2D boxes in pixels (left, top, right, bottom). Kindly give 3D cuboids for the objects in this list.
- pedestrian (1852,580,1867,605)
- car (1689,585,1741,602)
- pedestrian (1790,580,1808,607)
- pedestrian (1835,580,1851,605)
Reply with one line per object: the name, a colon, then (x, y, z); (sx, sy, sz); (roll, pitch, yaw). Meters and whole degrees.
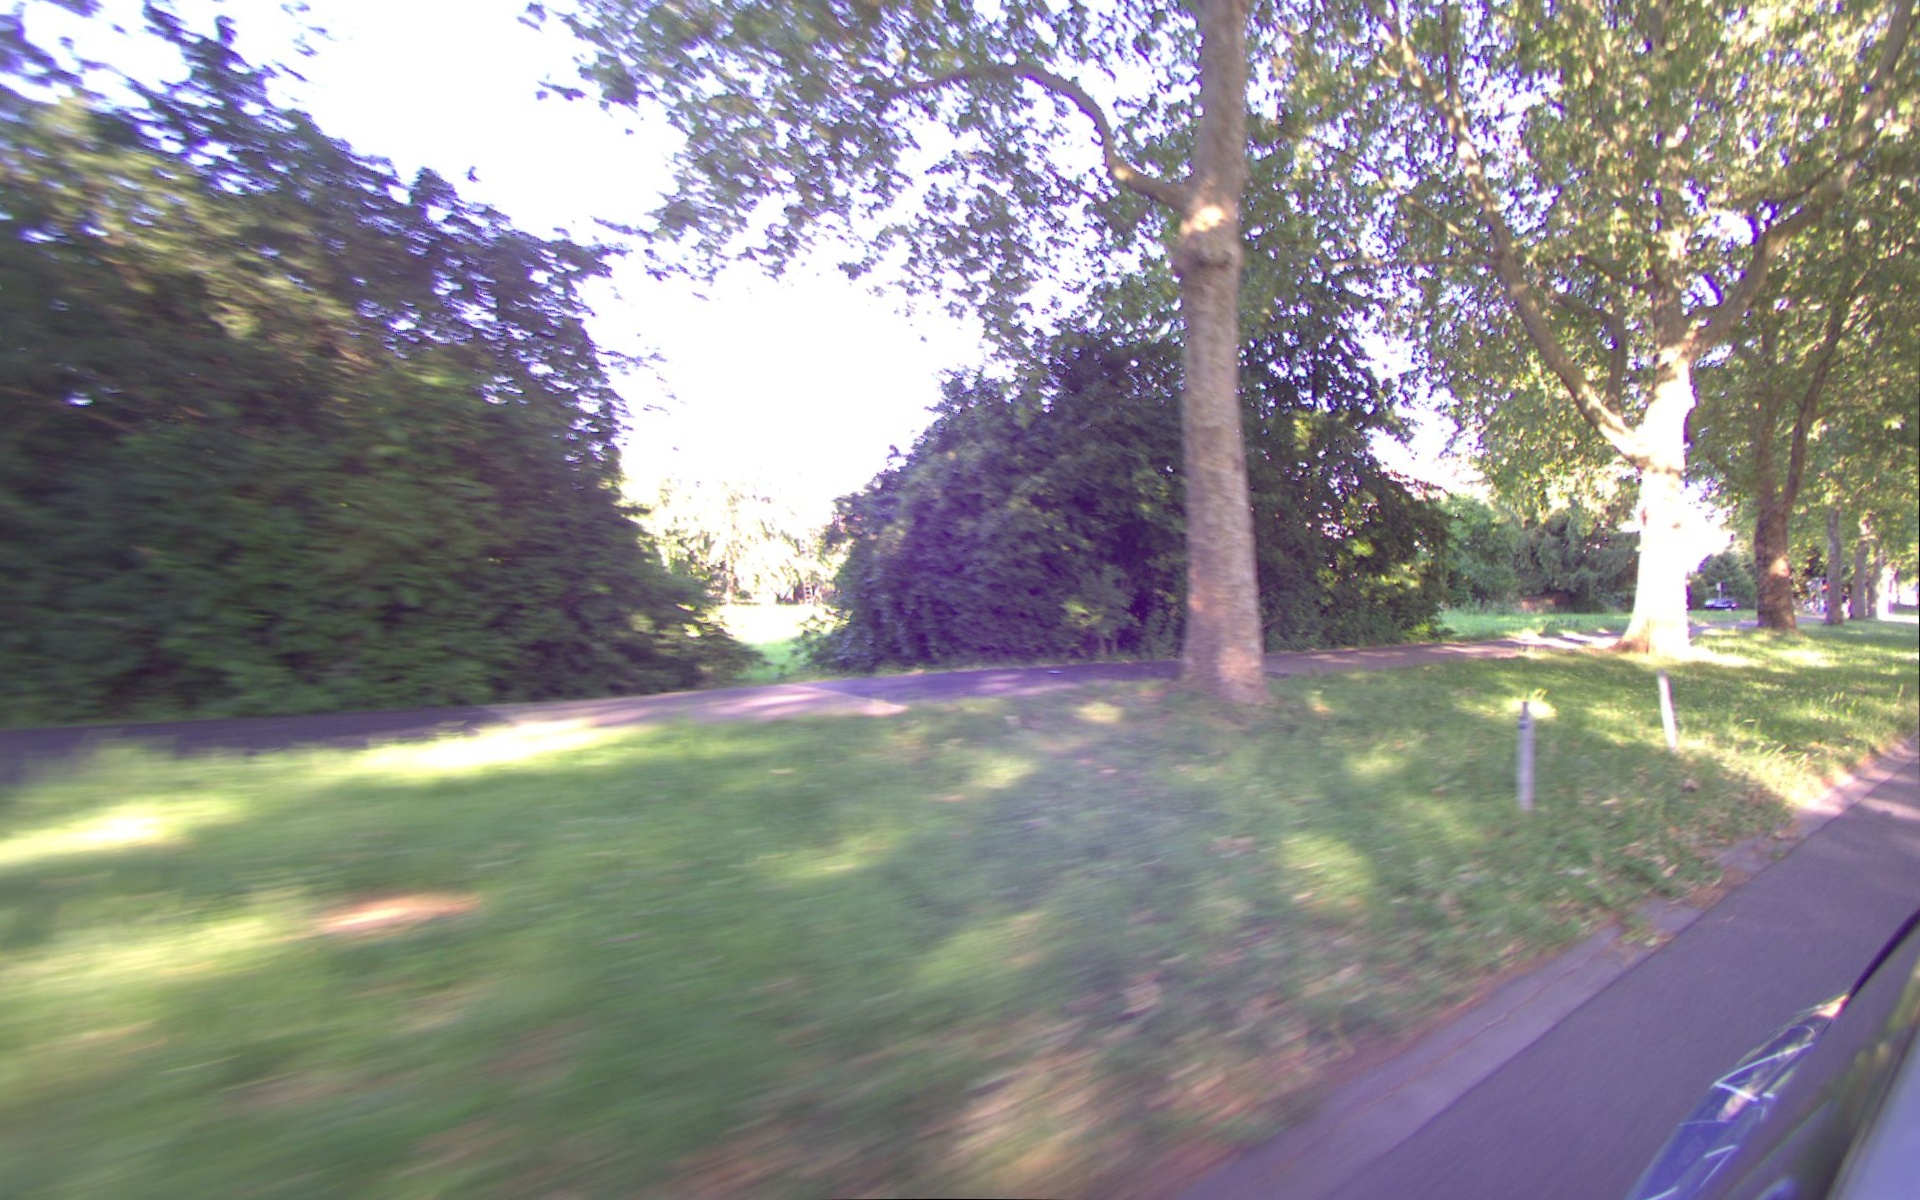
pedestrian: (66.710, -0.547, 75.057); (0.774, 1.869, 0.762); (0, 1, -43)
car: (74.210, -0.638, 99.513); (4.050, 1.482, 1.707); (2, 2, 40)
pedestrian: (52.705, -0.434, 63.570); (0.780, 1.670, 0.924); (3, 2, 44)
pedestrian: (66.182, -0.546, 75.842); (0.789, 1.870, 0.755); (0, 1, -43)
